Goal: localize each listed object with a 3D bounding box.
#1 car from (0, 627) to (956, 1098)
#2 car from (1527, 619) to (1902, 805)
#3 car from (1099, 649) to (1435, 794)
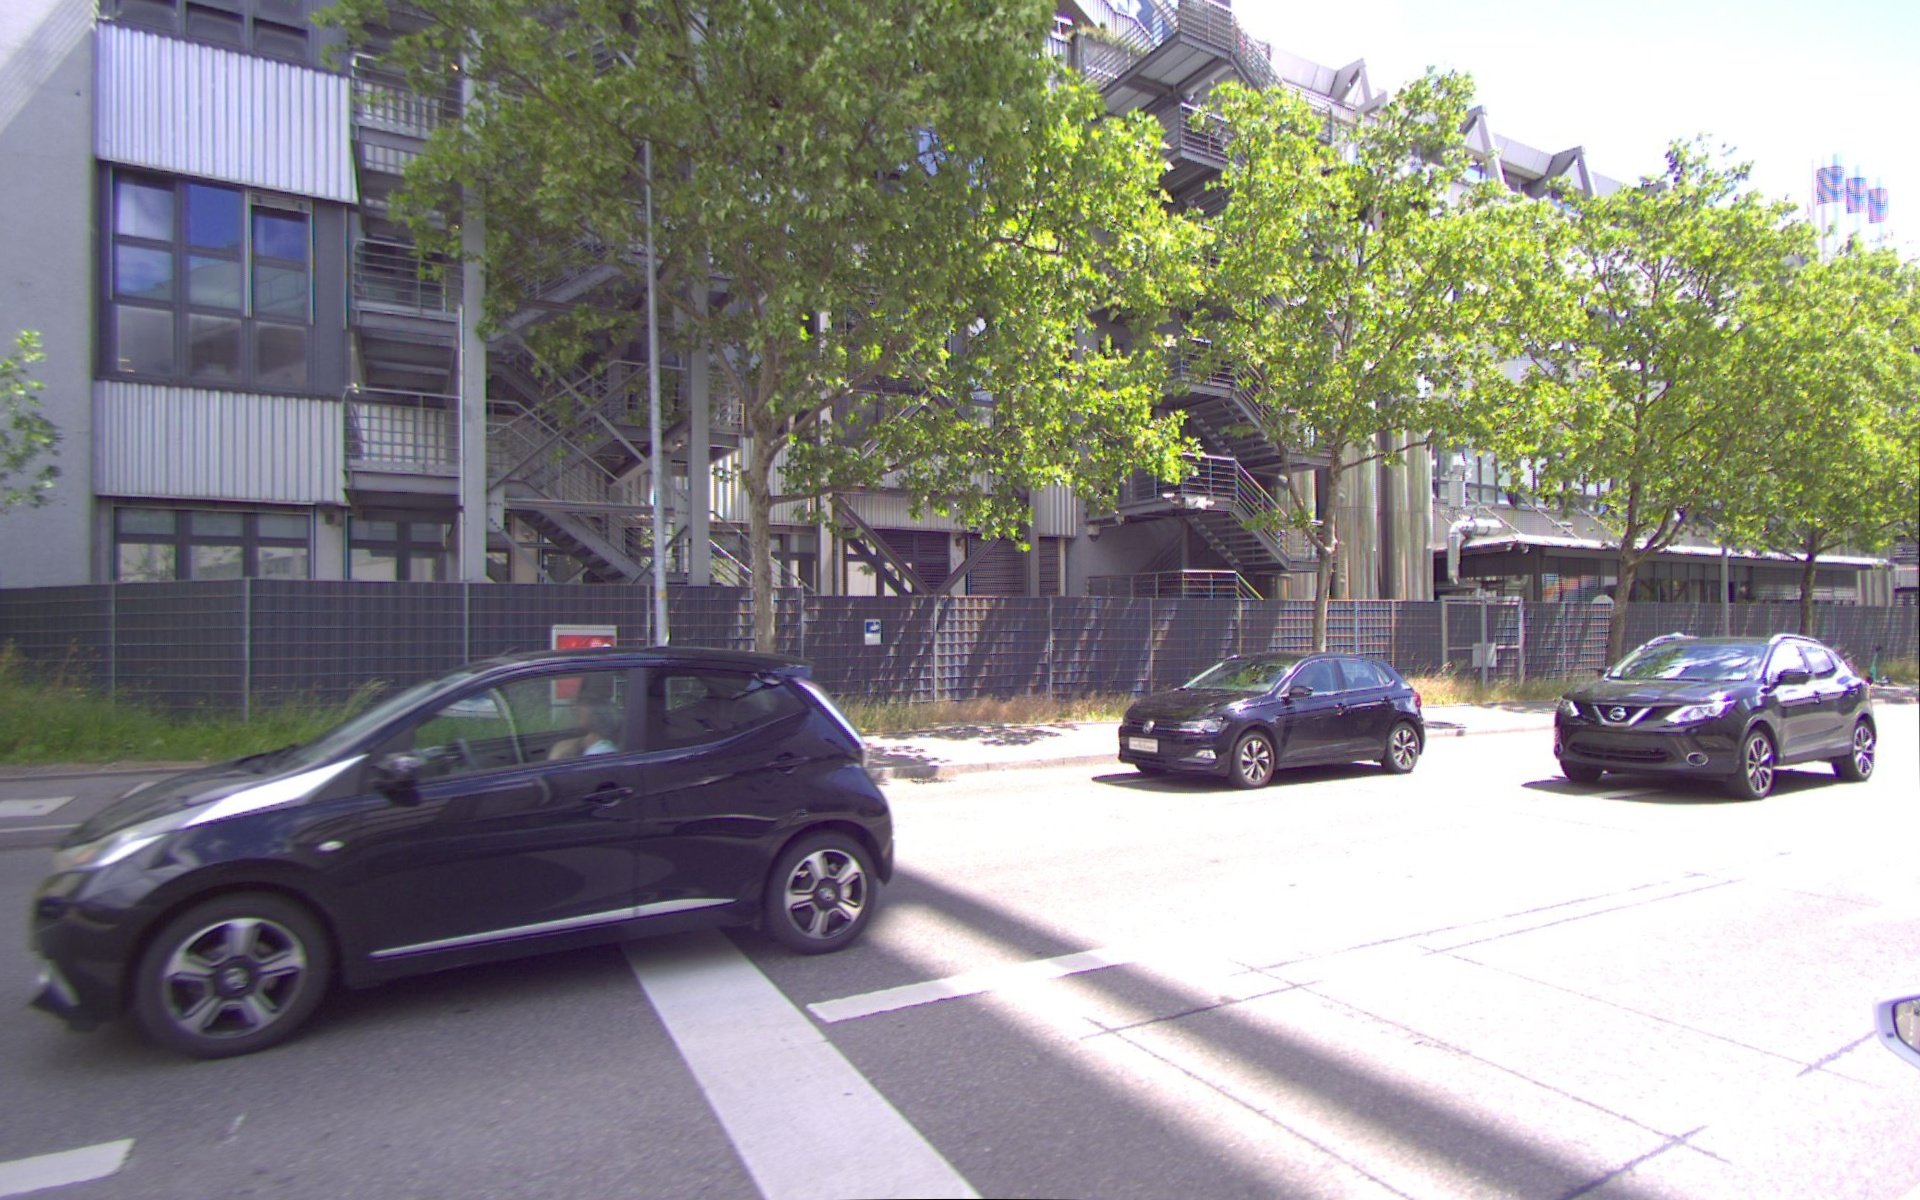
[{"bbox_3d":[-1.941,0.935,4.859,3.570,1.524,1.551,2,-3,-30],"label":"car"},{"bbox_3d":[8.318,1.135,11.022,4.163,1.706,1.729,2,-3,-29],"label":"car"},{"bbox_3d":[3.638,1.302,11.745,3.875,1.447,1.569,2,-3,-31],"label":"car"}]
